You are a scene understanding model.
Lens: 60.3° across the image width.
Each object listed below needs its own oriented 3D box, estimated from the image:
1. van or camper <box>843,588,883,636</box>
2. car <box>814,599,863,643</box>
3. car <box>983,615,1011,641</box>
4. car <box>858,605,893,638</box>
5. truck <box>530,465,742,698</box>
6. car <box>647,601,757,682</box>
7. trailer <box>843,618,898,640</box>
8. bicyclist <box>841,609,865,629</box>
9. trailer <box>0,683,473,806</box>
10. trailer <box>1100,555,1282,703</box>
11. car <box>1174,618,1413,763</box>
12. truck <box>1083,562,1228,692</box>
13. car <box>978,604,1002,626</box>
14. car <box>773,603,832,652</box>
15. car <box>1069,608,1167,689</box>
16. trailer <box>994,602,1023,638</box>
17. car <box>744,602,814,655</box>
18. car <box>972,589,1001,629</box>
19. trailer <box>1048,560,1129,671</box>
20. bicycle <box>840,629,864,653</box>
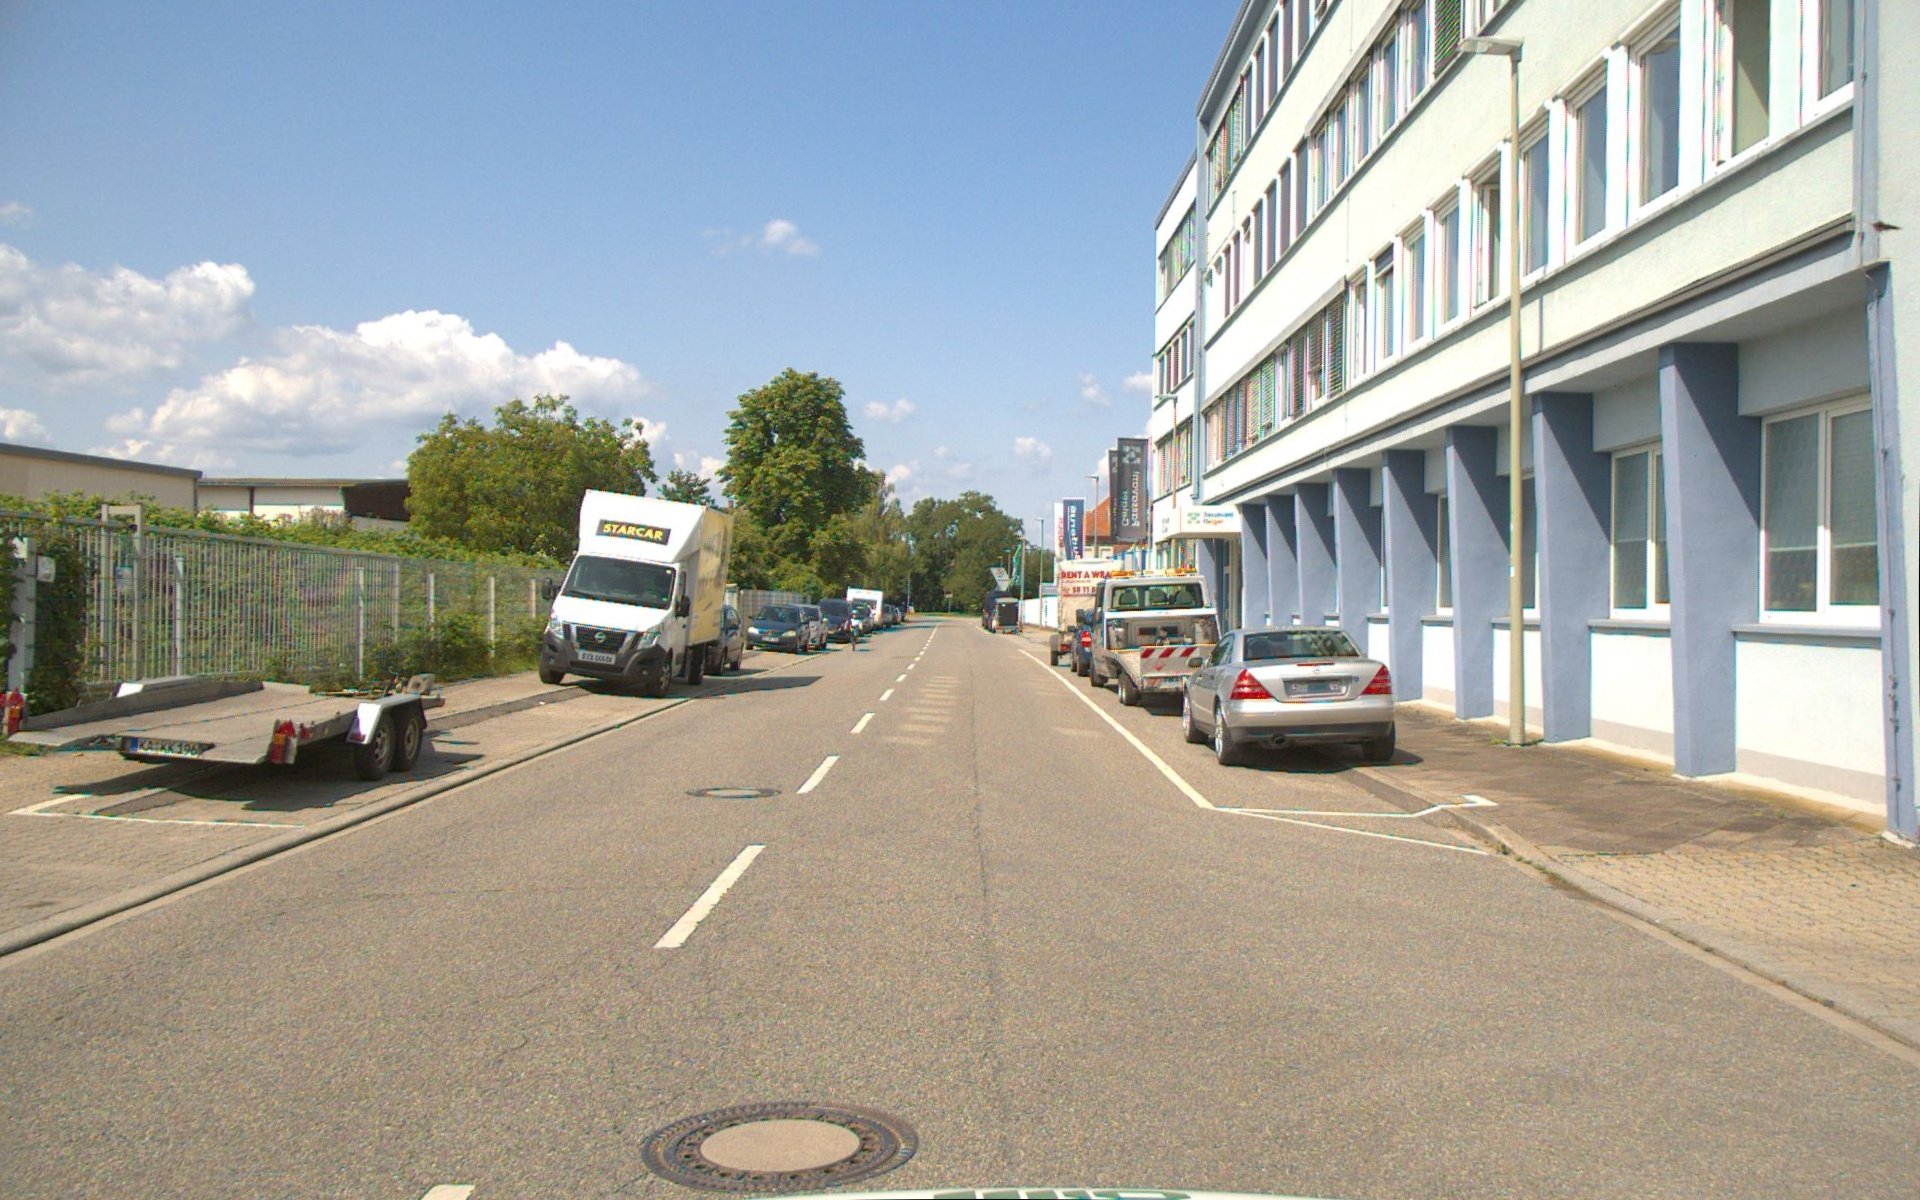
[{"bbox_3d":[-6.286,0.794,107.923,2.218,2.852,6.830,5,-1,-2],"label":"van or camper"},{"bbox_3d":[-5.051,0.866,69.140,1.764,1.780,4.712,1,-1,-1],"label":"car"},{"bbox_3d":[2.293,1.748,103.346,1.540,1.534,4.132,1,-1,-1],"label":"car"},{"bbox_3d":[-4.709,1.194,92.593,1.790,1.825,4.734,1,-1,-1],"label":"car"},{"bbox_3d":[-5.491,-0.289,29.162,2.205,3.419,6.905,5,0,-1],"label":"truck"},{"bbox_3d":[-5.473,0.855,35.478,1.587,1.454,3.826,7,0,0],"label":"car"},{"bbox_3d":[-4.495,1.470,84.294,2.225,0.898,7.132,6,-1,1],"label":"trailer"},{"bbox_3d":[-3.536,0.626,54.786,0.554,0.642,1.858,2,0,3],"label":"bicyclist"},{"bbox_3d":[-5.910,1.157,14.192,2.190,0.562,4.443,3,0,-1],"label":"trailer"},{"bbox_3d":[3.416,0.410,25.585,1.933,2.005,5.765,1,0,-1],"label":"trailer"},{"bbox_3d":[3.317,0.848,17.160,1.613,1.268,3.999,1,0,-1],"label":"car"},{"bbox_3d":[3.343,0.451,29.145,1.924,2.071,4.733,1,0,-1],"label":"truck"},{"bbox_3d":[2.412,1.226,133.207,1.787,1.694,4.555,0,0,0],"label":"car"},{"bbox_3d":[-5.304,0.907,56.109,1.582,1.509,3.709,3,0,0],"label":"car"},{"bbox_3d":[3.345,1.020,35.685,1.683,1.569,4.403,2,-1,0],"label":"car"},{"bbox_3d":[2.843,1.170,97.226,1.569,2.073,2.740,2,-1,-1],"label":"trailer"},{"bbox_3d":[-5.567,0.866,51.149,1.537,1.423,3.799,6,0,1],"label":"car"},{"bbox_3d":[1.912,0.646,121.287,1.898,2.796,6.152,1,-1,-1],"label":"car"},{"bbox_3d":[3.166,0.382,41.564,1.830,2.598,5.073,1,0,2],"label":"trailer"},{"bbox_3d":[-3.558,1.350,54.785,0.575,0.754,2.125,1,0,2],"label":"bicycle"}]
